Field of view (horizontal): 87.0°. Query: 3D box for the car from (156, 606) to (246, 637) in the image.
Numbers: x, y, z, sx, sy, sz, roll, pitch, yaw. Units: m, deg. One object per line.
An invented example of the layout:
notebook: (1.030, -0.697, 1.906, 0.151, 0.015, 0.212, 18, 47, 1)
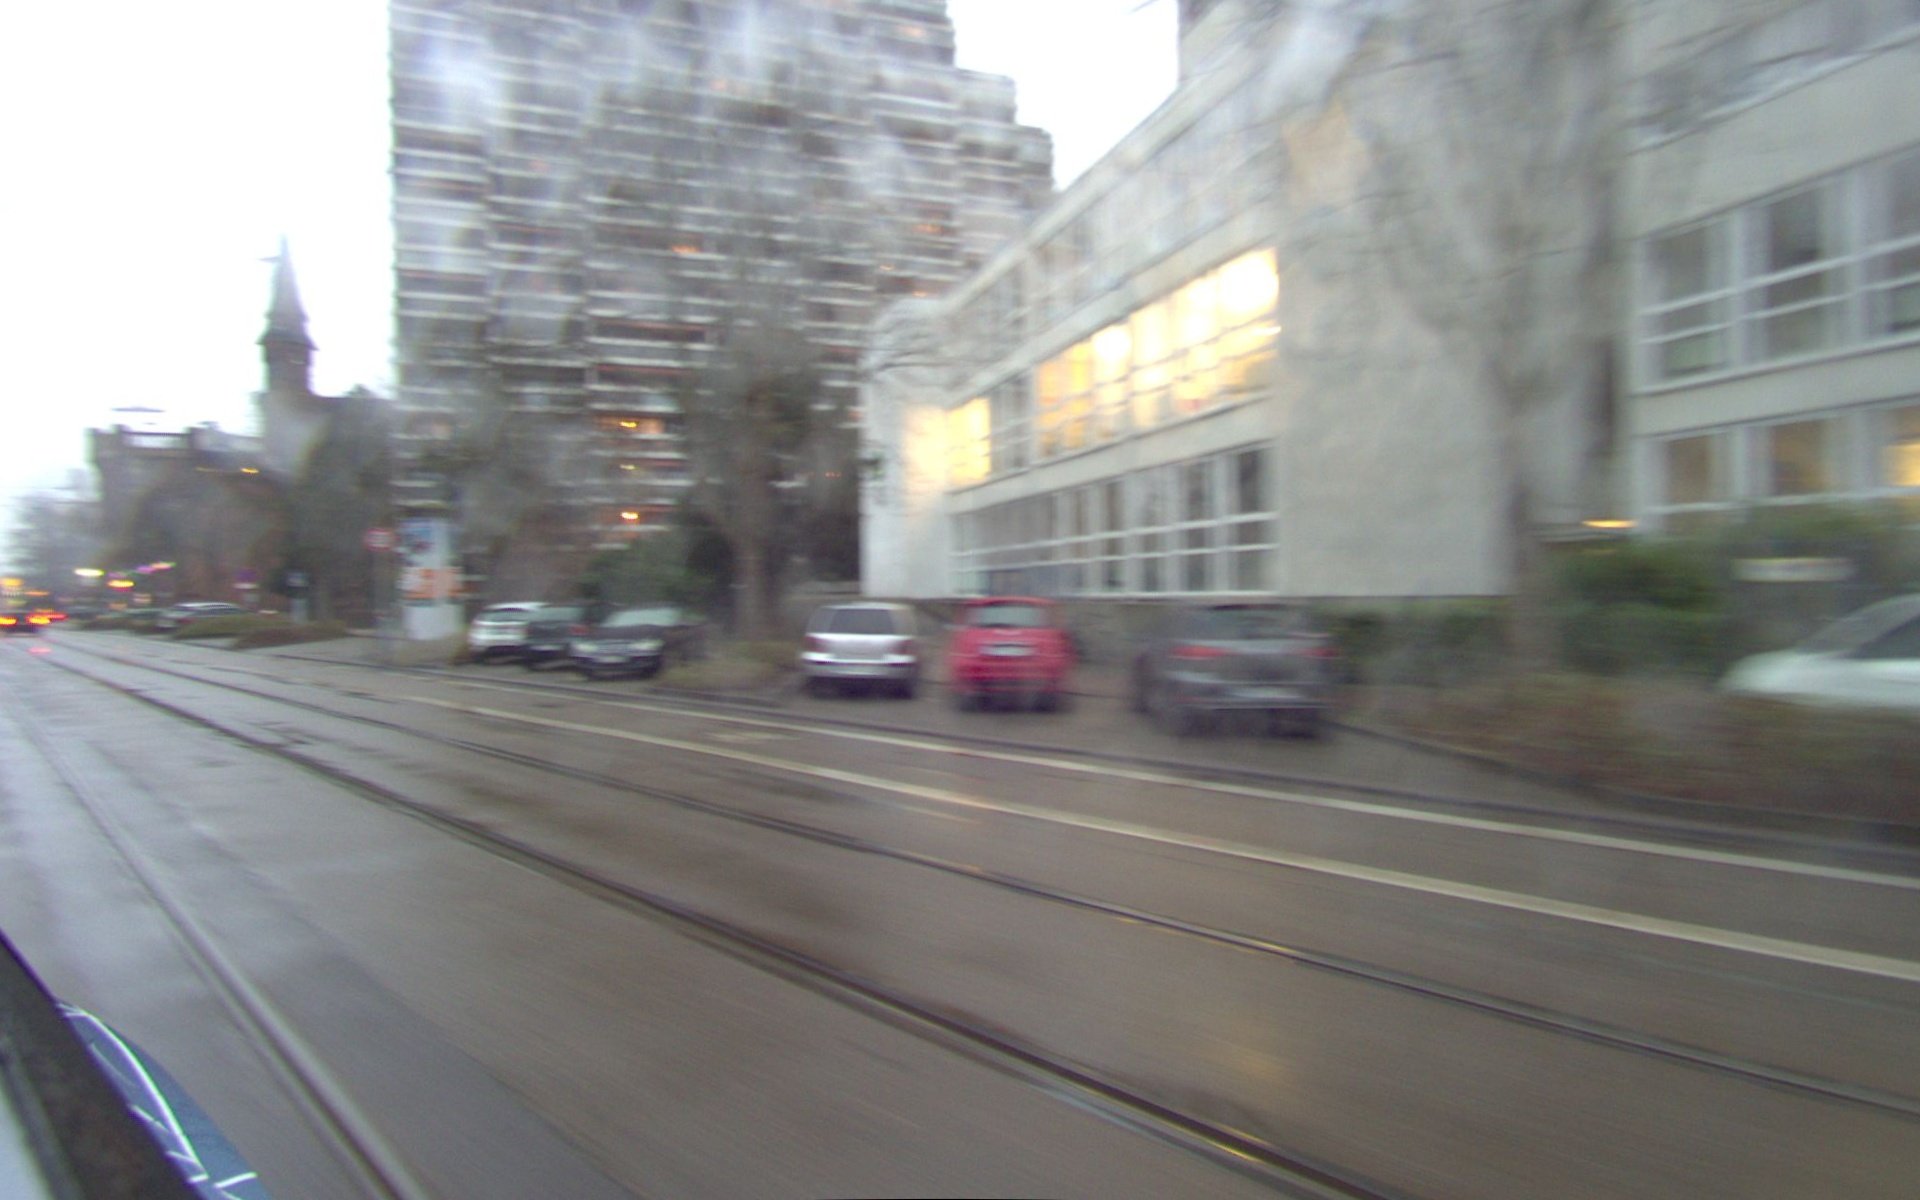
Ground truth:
car: (-42.380, 1.184, 56.539, 3.937, 1.652, 2.003, -1, -1, -40)

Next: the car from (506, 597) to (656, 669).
car: (-8.552, 0.723, 23.213, 1.831, 1.473, 3.997, -1, -1, 2)

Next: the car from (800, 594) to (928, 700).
car: (-1.419, 0.686, 16.232, 1.767, 1.457, 4.002, -1, -1, -2)

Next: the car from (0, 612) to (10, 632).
car: (-76.630, 1.764, 80.314, 1.687, 1.591, 4.382, 0, -1, -45)

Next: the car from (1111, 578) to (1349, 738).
car: (2.879, 0.584, 11.653, 1.672, 1.504, 3.853, -1, -1, 0)

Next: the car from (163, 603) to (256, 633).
car: (-40.300, 0.952, 54.406, 3.937, 1.497, 1.675, -1, -1, -40)

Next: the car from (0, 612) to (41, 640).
car: (-56.622, 1.561, 60.682, 4.293, 1.556, 1.729, -2, -1, 41)

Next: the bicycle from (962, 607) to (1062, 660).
bicycle: (1.186, 0.738, 23.005, 2.167, 1.129, 0.644, -1, -1, -23)

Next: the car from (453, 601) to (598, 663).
car: (-10.821, 0.776, 25.505, 1.831, 1.410, 3.997, -1, -1, 2)

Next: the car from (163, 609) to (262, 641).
car: (-37.968, 1.263, 51.425, 3.937, 1.497, 1.675, -1, -1, -40)

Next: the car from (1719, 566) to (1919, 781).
car: (7.799, 0.517, 7.277, 1.669, 1.563, 3.877, -1, -1, -1)

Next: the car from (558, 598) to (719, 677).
car: (-6.262, 0.706, 20.211, 1.831, 1.389, 3.997, -1, -1, 2)

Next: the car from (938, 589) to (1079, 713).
car: (0.655, 0.658, 14.282, 1.706, 1.504, 3.449, -1, -1, 2)
